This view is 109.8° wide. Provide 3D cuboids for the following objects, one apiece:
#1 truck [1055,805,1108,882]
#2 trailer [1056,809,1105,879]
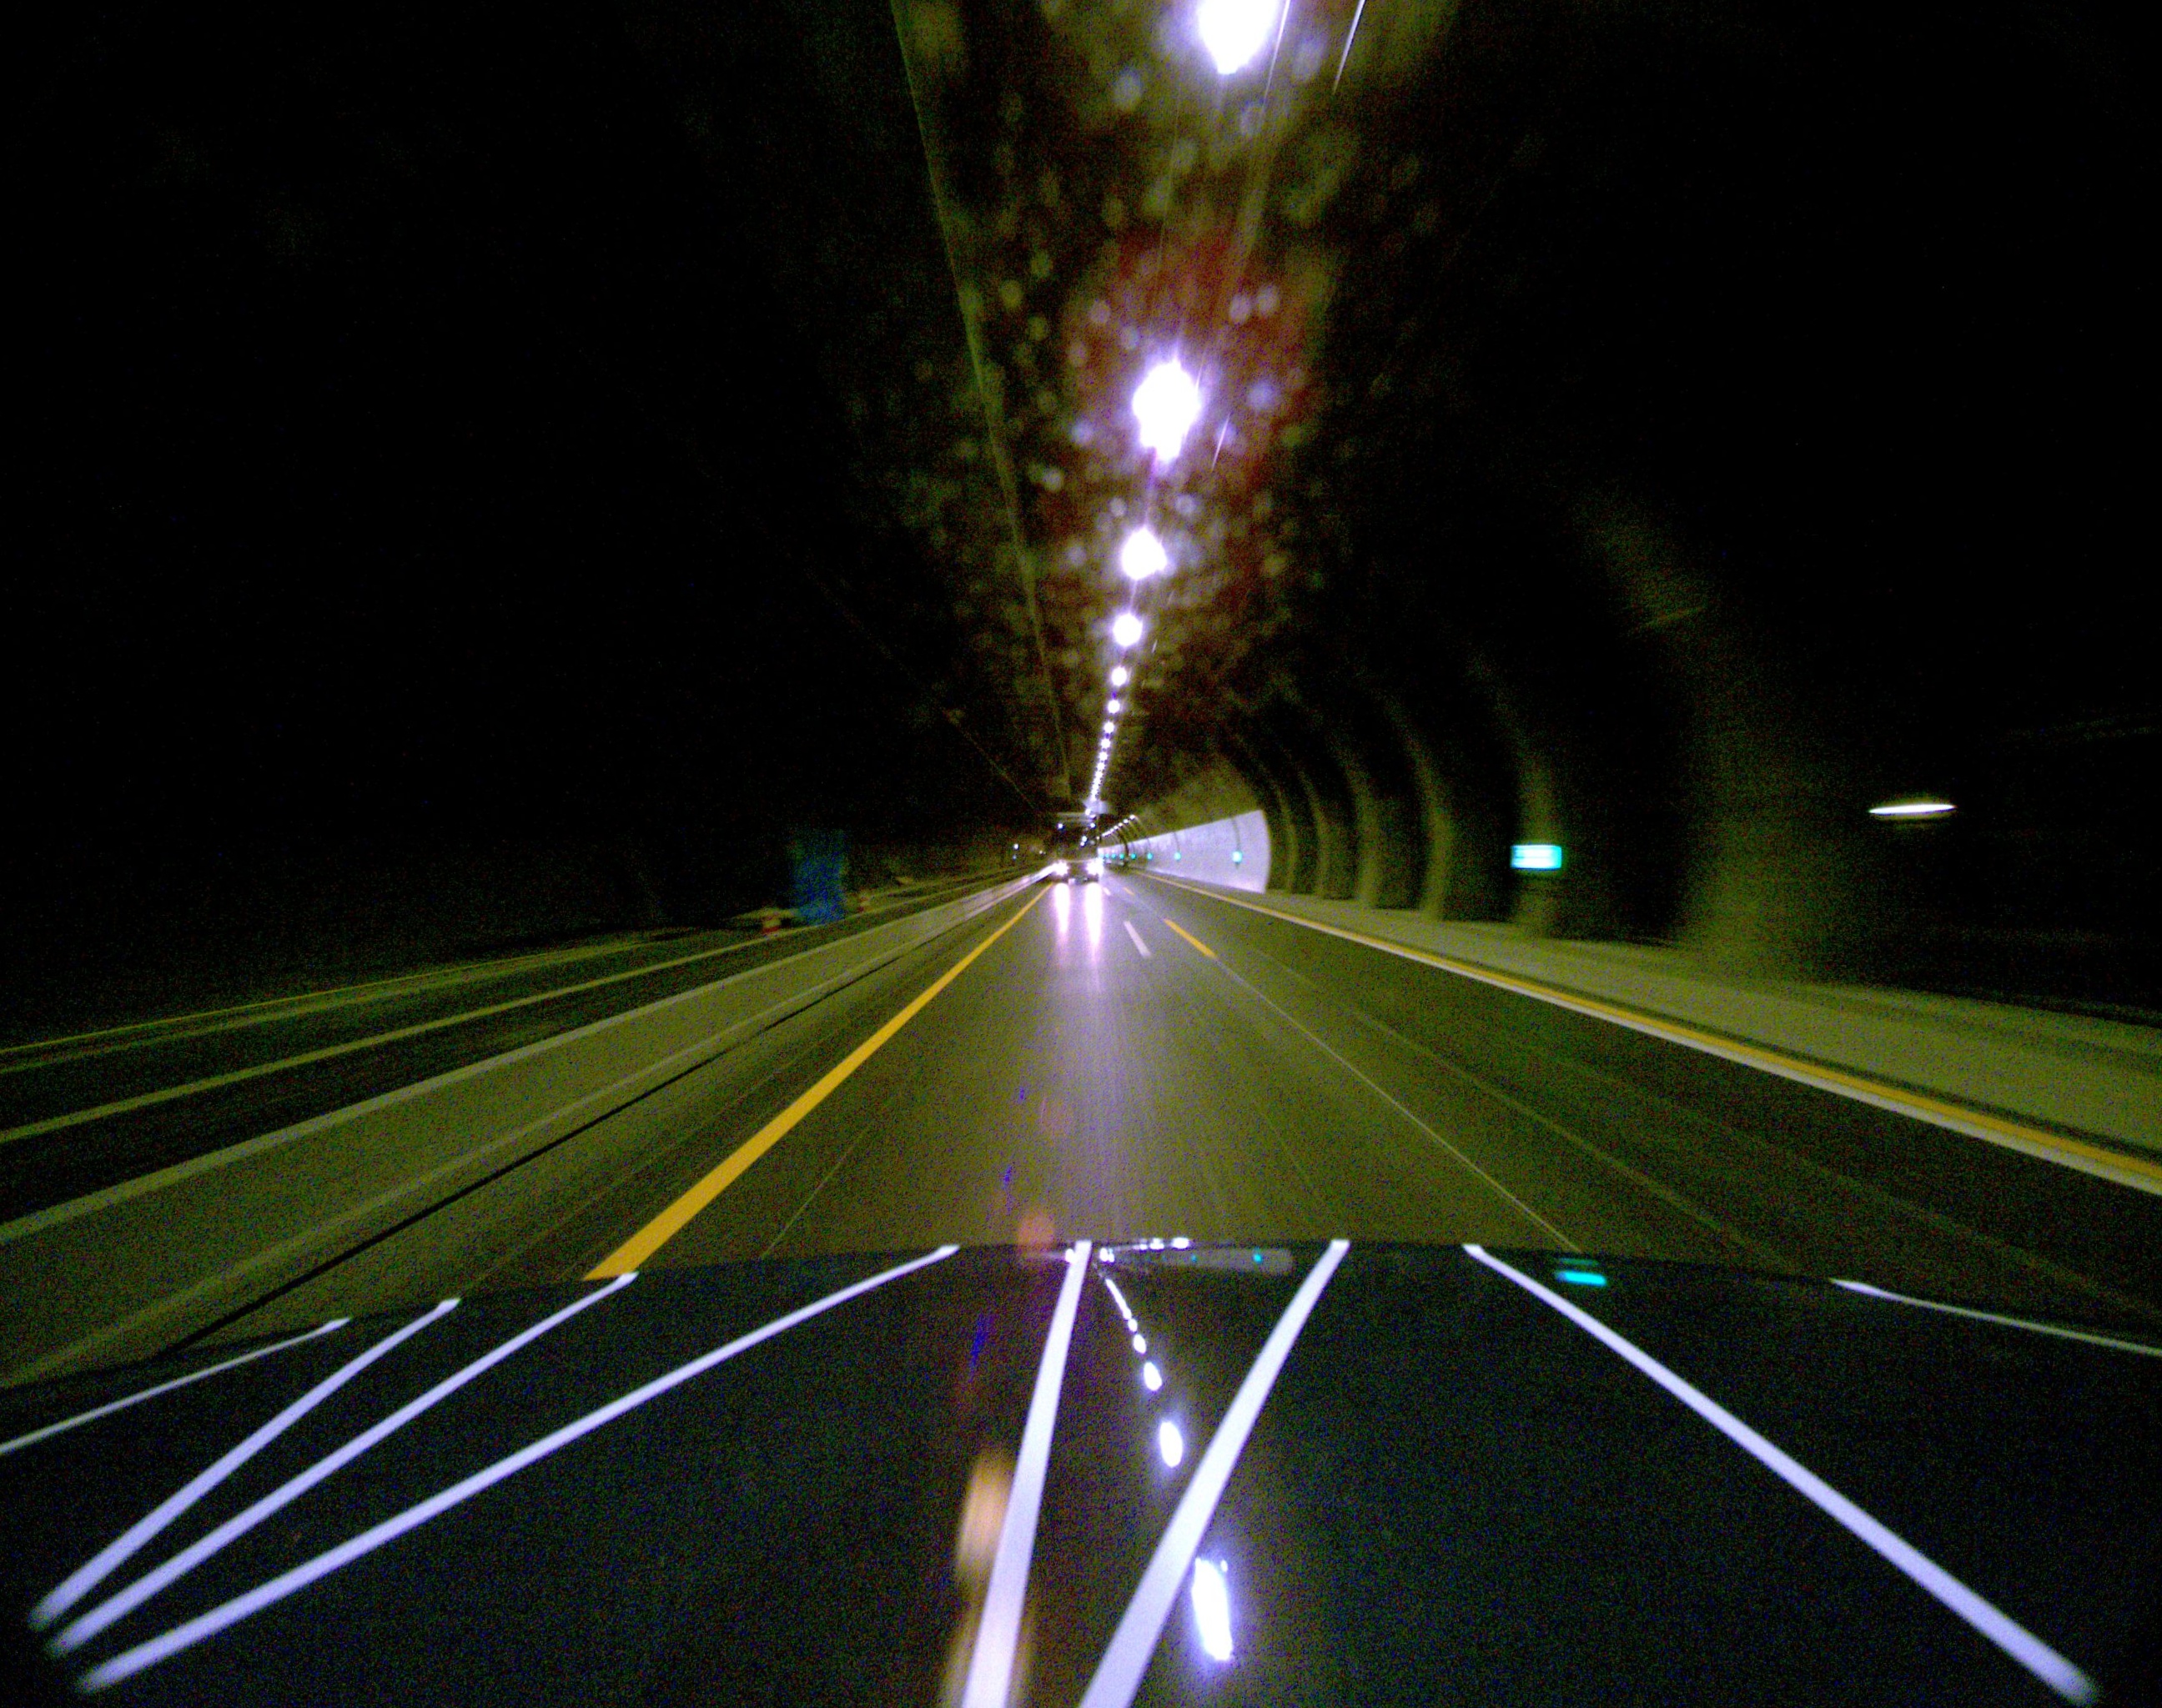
[{"bbox_3d":[-0.037,-0.623,46.709,2.951,4.338,6.673,-2,1,-1],"label":"truck"},{"bbox_3d":[-0.155,-0.666,52.121,2.940,4.316,10.049,-2,1,-1],"label":"trailer"}]
